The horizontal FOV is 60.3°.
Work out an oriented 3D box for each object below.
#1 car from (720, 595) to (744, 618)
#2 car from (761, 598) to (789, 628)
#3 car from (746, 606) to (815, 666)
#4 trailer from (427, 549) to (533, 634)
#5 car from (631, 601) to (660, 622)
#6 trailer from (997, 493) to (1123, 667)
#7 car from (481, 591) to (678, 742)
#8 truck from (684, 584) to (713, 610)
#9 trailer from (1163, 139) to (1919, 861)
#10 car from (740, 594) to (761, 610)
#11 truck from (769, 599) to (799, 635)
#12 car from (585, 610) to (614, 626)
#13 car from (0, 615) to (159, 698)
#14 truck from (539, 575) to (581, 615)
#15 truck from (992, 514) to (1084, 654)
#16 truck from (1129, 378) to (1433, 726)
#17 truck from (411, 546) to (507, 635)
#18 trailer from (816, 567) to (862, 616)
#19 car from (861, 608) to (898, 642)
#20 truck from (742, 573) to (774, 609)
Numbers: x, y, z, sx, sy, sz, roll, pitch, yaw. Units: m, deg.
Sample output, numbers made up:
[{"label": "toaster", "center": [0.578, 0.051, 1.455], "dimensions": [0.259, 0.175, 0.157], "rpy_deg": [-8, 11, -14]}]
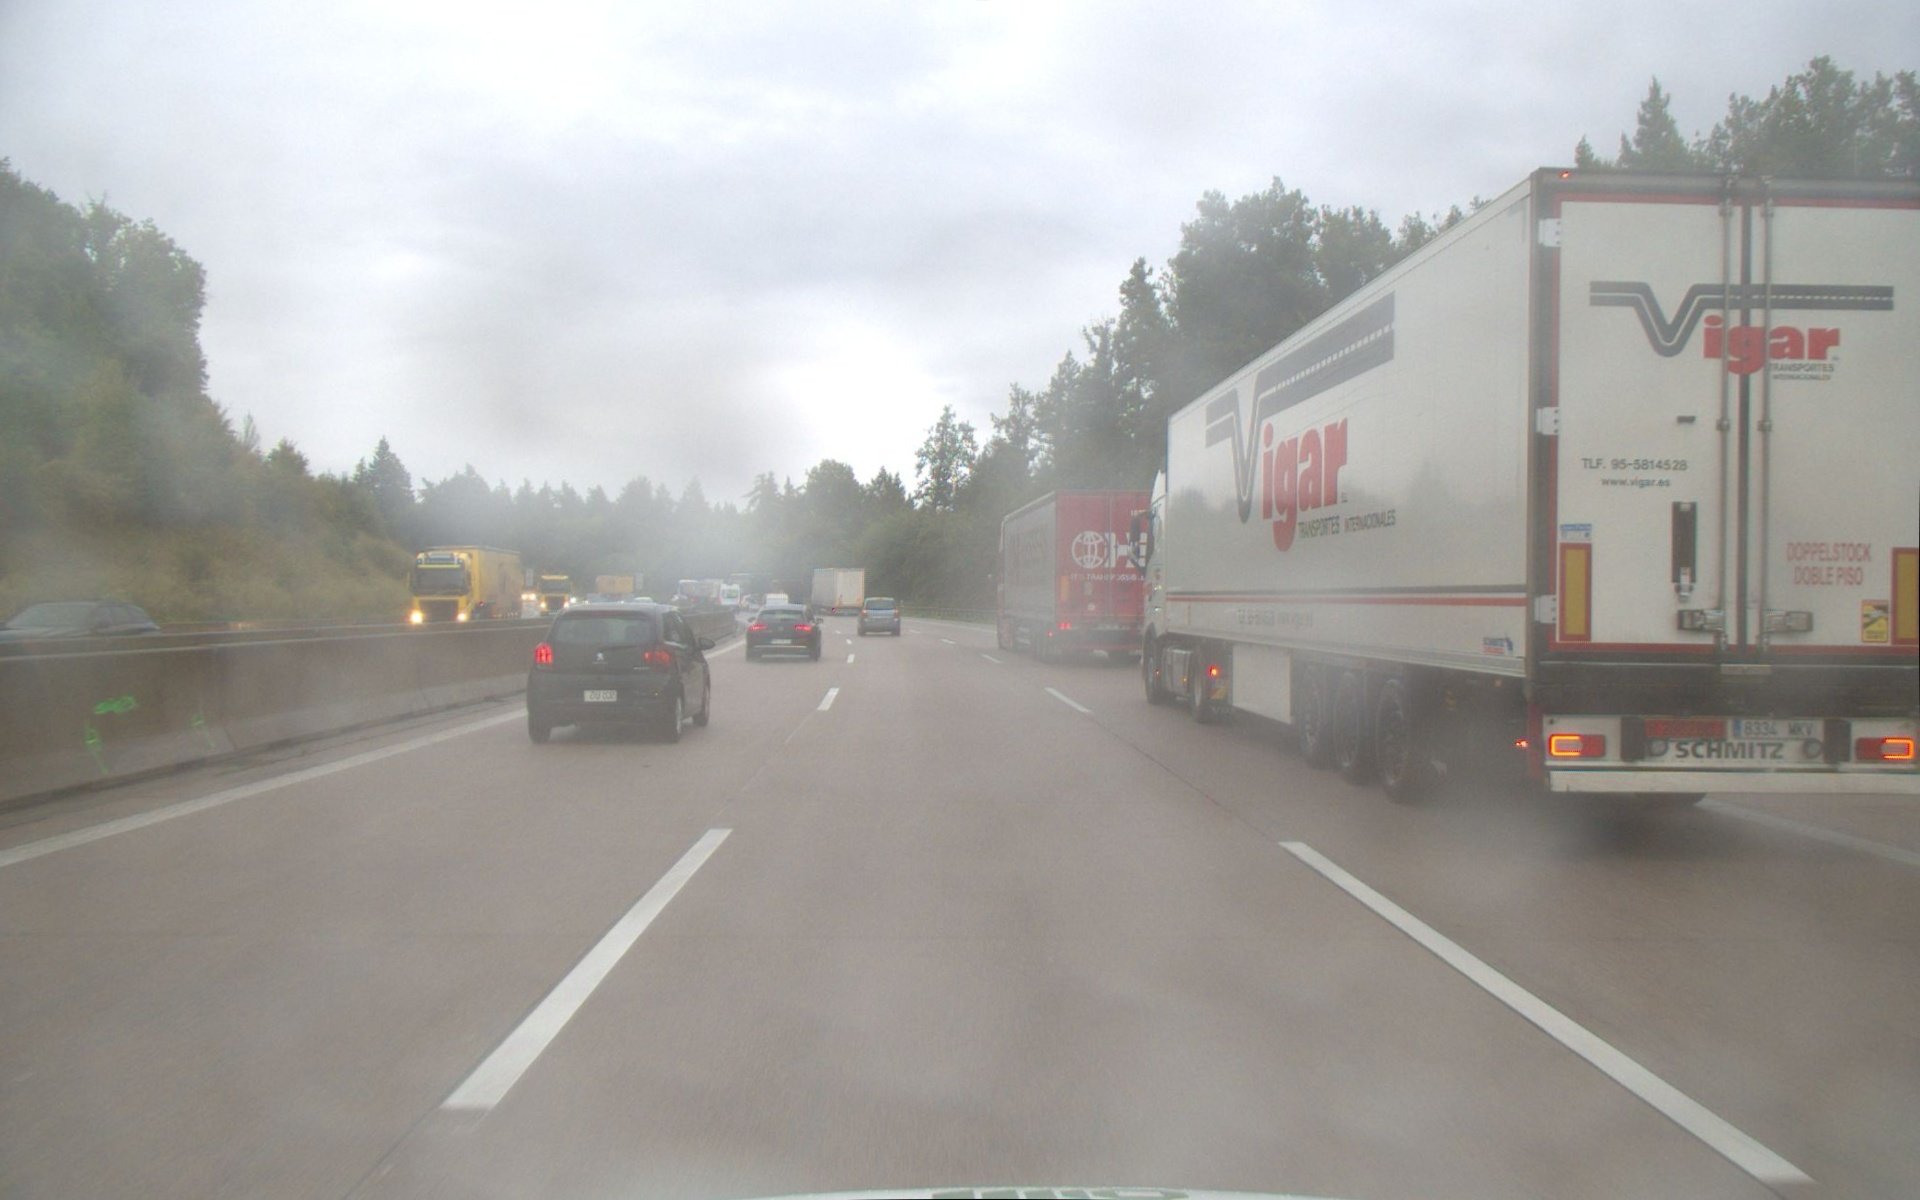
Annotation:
[{"label": "car", "center": [-21.747, 0.602, 157.489], "dimensions": [1.958, 2.095, 3.988], "rpy_deg": [0, 0, -12]}, {"label": "car", "center": [-12.682, 0.858, 113.135], "dimensions": [1.694, 2.049, 3.648], "rpy_deg": [0, 0, -9]}, {"label": "car", "center": [-4.491, 0.869, 41.754], "dimensions": [1.523, 1.375, 3.681], "rpy_deg": [2, 0, -4]}, {"label": "trailer", "center": [-24.120, -0.402, 83.877], "dimensions": [2.957, 3.942, 13.679], "rpy_deg": [0, 0, -7]}, {"label": "car", "center": [-23.066, 0.845, 121.450], "dimensions": [1.621, 1.505, 4.540], "rpy_deg": [1, 0, -5]}, {"label": "trailer", "center": [2.471, -0.456, 44.689], "dimensions": [2.322, 4.023, 12.517], "rpy_deg": [1, 0, -1]}, {"label": "car", "center": [-4.186, 0.675, 18.697], "dimensions": [1.651, 1.488, 3.679], "rpy_deg": [2, 0, -6]}, {"label": "truck", "center": [-33.070, -0.391, 209.147], "dimensions": [3.030, 2.956, 7.877], "rpy_deg": [1, 1, -13]}, {"label": "trailer", "center": [4.430, -0.575, 16.454], "dimensions": [2.679, 4.175, 13.677], "rpy_deg": [0, 0, -2]}, {"label": "car", "center": [-21.394, 0.188, 169.094], "dimensions": [1.848, 1.499, 3.990], "rpy_deg": [2, 0, -11]}, {"label": "truck", "center": [-15.977, 1.487, 150.106], "dimensions": [2.228, 2.937, 7.886], "rpy_deg": [1, 1, -9]}, {"label": "car", "center": [-28.028, 1.374, 128.595], "dimensions": [1.621, 1.219, 4.540], "rpy_deg": [1, 0, -5]}, {"label": "car", "center": [-16.691, 0.987, 30.502], "dimensions": [1.766, 1.357, 4.562], "rpy_deg": [1, 0, -2]}, {"label": "truck", "center": [-35.131, -0.422, 145.479], "dimensions": [2.572, 3.354, 9.366], "rpy_deg": [0, 0, -7]}, {"label": "truck", "center": [2.324, -0.448, 50.847], "dimensions": [2.327, 4.023, 6.158], "rpy_deg": [1, 0, -2]}, {"label": "truck", "center": [4.187, -0.573, 22.925], "dimensions": [2.743, 4.175, 5.963], "rpy_deg": [0, 0, -3]}, {"label": "truck", "center": [-23.291, -0.413, 77.246], "dimensions": [2.969, 3.942, 8.103], "rpy_deg": [0, 0, -7]}, {"label": "trailer", "center": [-10.752, -0.805, 145.671], "dimensions": [2.377, 4.139, 12.017], "rpy_deg": [1, 1, -12]}, {"label": "car", "center": [-3.472, 1.053, 71.302], "dimensions": [1.523, 1.375, 3.681], "rpy_deg": [2, 0, -3]}, {"label": "truck", "center": [-24.102, -1.093, 197.117], "dimensions": [3.307, 4.203, 10.414], "rpy_deg": [1, 1, -10]}]
